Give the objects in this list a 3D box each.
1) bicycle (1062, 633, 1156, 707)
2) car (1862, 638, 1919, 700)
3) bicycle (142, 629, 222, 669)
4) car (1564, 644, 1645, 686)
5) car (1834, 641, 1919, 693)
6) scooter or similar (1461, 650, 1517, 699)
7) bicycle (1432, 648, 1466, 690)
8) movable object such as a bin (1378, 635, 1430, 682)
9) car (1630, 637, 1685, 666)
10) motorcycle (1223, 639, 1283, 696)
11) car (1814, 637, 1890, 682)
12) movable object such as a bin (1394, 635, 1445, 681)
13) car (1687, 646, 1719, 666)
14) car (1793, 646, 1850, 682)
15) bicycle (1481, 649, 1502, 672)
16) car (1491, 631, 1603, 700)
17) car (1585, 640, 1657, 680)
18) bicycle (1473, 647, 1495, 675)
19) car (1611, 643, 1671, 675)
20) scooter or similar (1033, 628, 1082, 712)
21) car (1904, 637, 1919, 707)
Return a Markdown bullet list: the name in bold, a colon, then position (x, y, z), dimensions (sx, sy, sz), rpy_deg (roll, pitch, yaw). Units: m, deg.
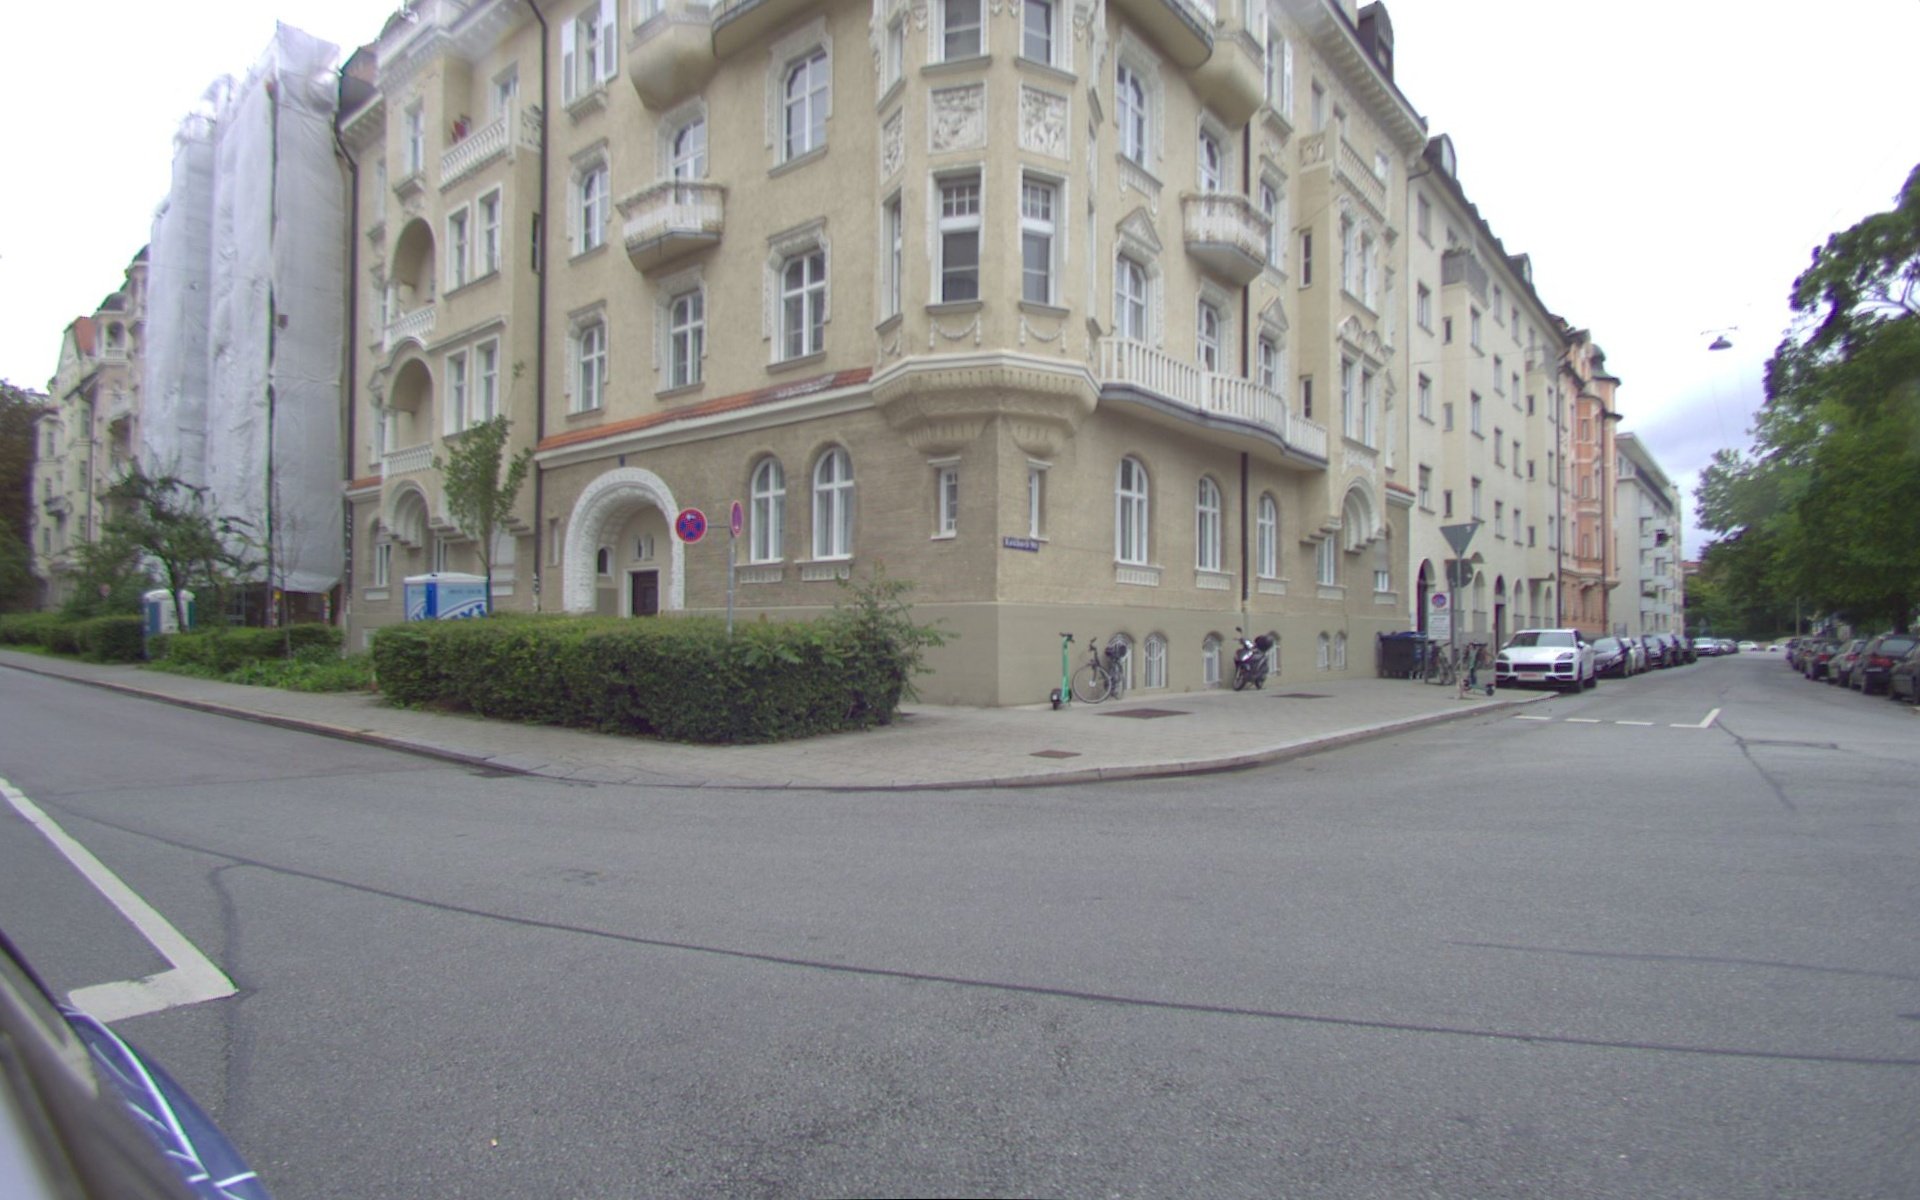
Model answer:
- **bicycle**: position (2.665, 1.200, 17.902), dimensions (0.697, 1.212, 2.312), rpy_deg (-1, -2, 35)
- **car**: position (24.958, 1.764, 26.524), dimensions (1.673, 1.540, 3.629), rpy_deg (-4, -4, 38)
- **bicycle**: position (-23.969, 1.502, 31.208), dimensions (0.690, 1.085, 1.840), rpy_deg (-1, 2, 42)
- **car**: position (22.928, 2.258, 35.931), dimensions (1.998, 1.369, 4.420), rpy_deg (-1, -2, 38)
- **car**: position (27.585, 1.995, 30.464), dimensions (1.673, 1.468, 3.629), rpy_deg (-4, -4, 38)
- **scooter or similar**: position (12.555, 1.753, 24.056), dimensions (0.534, 1.117, 1.348), rpy_deg (1, -2, -5)
- **bicycle**: position (13.154, 1.829, 27.221), dimensions (0.651, 1.077, 1.955), rpy_deg (-1, -2, 31)
- **movable object such as a bin**: position (13.415, 1.756, 30.595), dimensions (1.147, 1.381, 1.164), rpy_deg (-1, -3, 42)
- **car**: position (34.792, 2.546, 50.421), dimensions (1.998, 1.386, 4.126), rpy_deg (-1, -2, 38)
- **motorcycle**: position (6.491, 1.458, 22.355), dimensions (0.741, 1.195, 1.724), rpy_deg (-1, -2, 36)
- **car**: position (30.626, 2.037, 34.827), dimensions (1.673, 1.468, 3.629), rpy_deg (-4, -4, 38)
- **movable object such as a bin**: position (14.278, 1.774, 31.416), dimensions (1.147, 1.381, 1.164), rpy_deg (-1, -3, 42)
- **car**: position (62.389, 4.684, 84.939), dimensions (1.951, 1.651, 3.947), rpy_deg (-1, -3, 39)
- **car**: position (37.224, 2.747, 43.808), dimensions (1.673, 1.468, 3.629), rpy_deg (-4, -4, 38)
- **bicycle**: position (21.855, 2.473, 41.627), dimensions (0.651, 0.909, 1.795), rpy_deg (-1, -2, 31)
- **car**: position (16.218, 1.739, 27.827), dimensions (1.998, 1.689, 4.925), rpy_deg (-1, -2, 38)
- **car**: position (25.974, 2.317, 39.698), dimensions (1.998, 1.461, 4.126), rpy_deg (-1, -2, 38)
- **bicycle**: position (20.421, 2.363, 39.401), dimensions (0.651, 1.077, 1.795), rpy_deg (-1, -2, 31)
- **car**: position (31.772, 2.722, 47.162), dimensions (1.998, 1.386, 4.126), rpy_deg (-1, -2, 38)
- **scooter or similar**: position (1.574, 1.093, 16.195), dimensions (0.456, 1.281, 1.275), rpy_deg (0, -2, 21)
- **car**: position (22.137, 1.567, 22.216), dimensions (1.673, 1.540, 3.629), rpy_deg (-4, -4, 38)
